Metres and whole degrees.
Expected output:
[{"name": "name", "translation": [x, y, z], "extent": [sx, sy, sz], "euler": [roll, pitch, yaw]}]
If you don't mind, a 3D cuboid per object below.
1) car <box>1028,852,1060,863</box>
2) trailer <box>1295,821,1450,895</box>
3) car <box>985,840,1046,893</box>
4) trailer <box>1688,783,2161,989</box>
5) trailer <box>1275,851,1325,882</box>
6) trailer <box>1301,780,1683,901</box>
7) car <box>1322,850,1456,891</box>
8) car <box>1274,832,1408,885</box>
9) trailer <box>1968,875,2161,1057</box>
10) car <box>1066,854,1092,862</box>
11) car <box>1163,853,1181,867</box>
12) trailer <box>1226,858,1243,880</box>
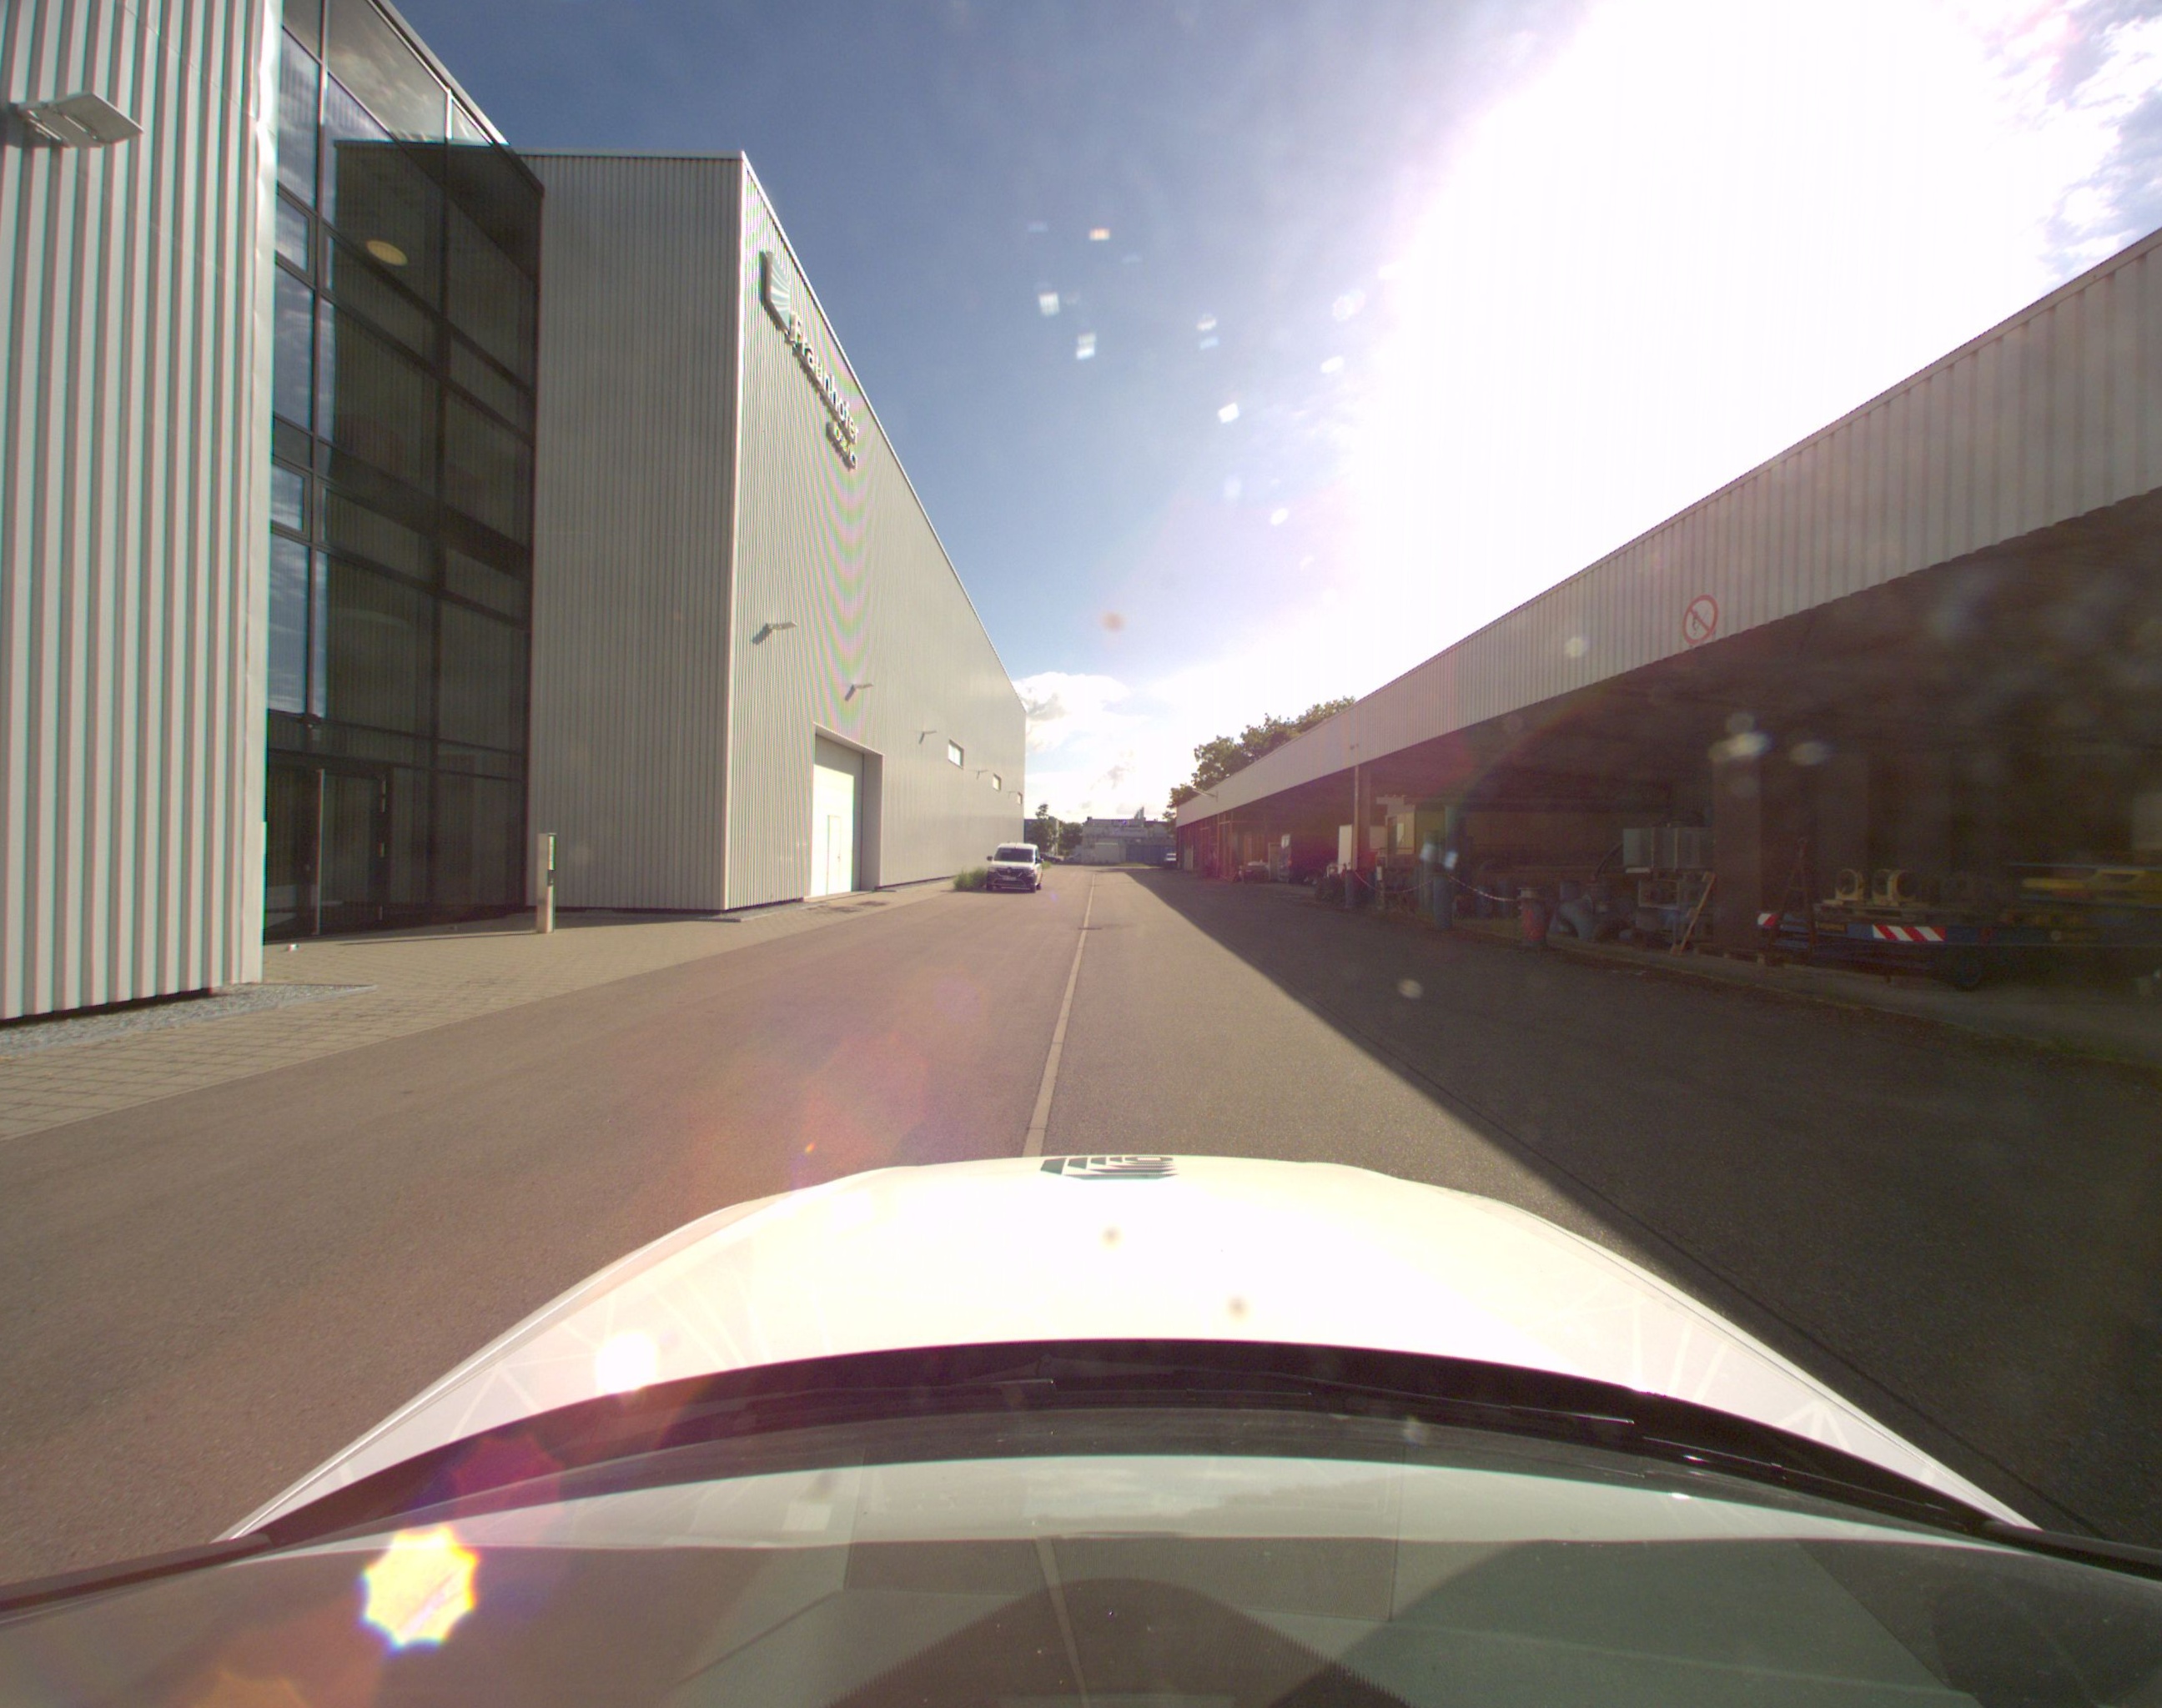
[{"name": "car", "translation": [-5.129, 0.512, 113.103], "extent": [4.433, 1.531, 1.824], "euler": [0, -1, 0]}, {"name": "trailer", "translation": [9.717, 0.136, 27.404], "extent": [4.499, 2.342, 2.048], "euler": [-1, -1, 2]}, {"name": "car", "translation": [-2.422, 0.451, 31.109], "extent": [1.777, 1.816, 4.602], "euler": [2, 0, 1]}, {"name": "trailer", "translation": [9.791, 0.320, 9.070], "extent": [4.405, 1.990, 2.164], "euler": [-1, -1, 2]}, {"name": "trailer", "translation": [10.403, 0.584, 38.806], "extent": [2.028, 1.466, 1.741], "euler": [-1, 0, 5]}, {"name": "trailer", "translation": [12.224, -0.388, 24.886], "extent": [10.231, 3.343, 2.802], "euler": [-1, 0, 1]}, {"name": "car", "translation": [11.246, 0.593, 29.945], "extent": [4.237, 1.471, 1.868], "euler": [0, 0, -2]}, {"name": "car", "translation": [11.467, 0.187, 36.185], "extent": [5.314, 2.281, 2.152], "euler": [0, -1, 0]}, {"name": "trailer", "translation": [10.130, 0.740, 5.725], "extent": [5.710, 1.185, 1.974], "euler": [-1, -1, -1]}, {"name": "car", "translation": [-0.329, 0.687, 140.959], "extent": [4.288, 1.457, 1.824], "euler": [0, -1, 0]}, {"name": "car", "translation": [11.227, 0.686, 100.491], "extent": [1.971, 1.602, 4.380], "euler": [-1, 1, 3]}, {"name": "trailer", "translation": [7.889, 0.774, 41.939], "extent": [0.550, 1.118, 1.546], "euler": [-1, -1, -1]}]
